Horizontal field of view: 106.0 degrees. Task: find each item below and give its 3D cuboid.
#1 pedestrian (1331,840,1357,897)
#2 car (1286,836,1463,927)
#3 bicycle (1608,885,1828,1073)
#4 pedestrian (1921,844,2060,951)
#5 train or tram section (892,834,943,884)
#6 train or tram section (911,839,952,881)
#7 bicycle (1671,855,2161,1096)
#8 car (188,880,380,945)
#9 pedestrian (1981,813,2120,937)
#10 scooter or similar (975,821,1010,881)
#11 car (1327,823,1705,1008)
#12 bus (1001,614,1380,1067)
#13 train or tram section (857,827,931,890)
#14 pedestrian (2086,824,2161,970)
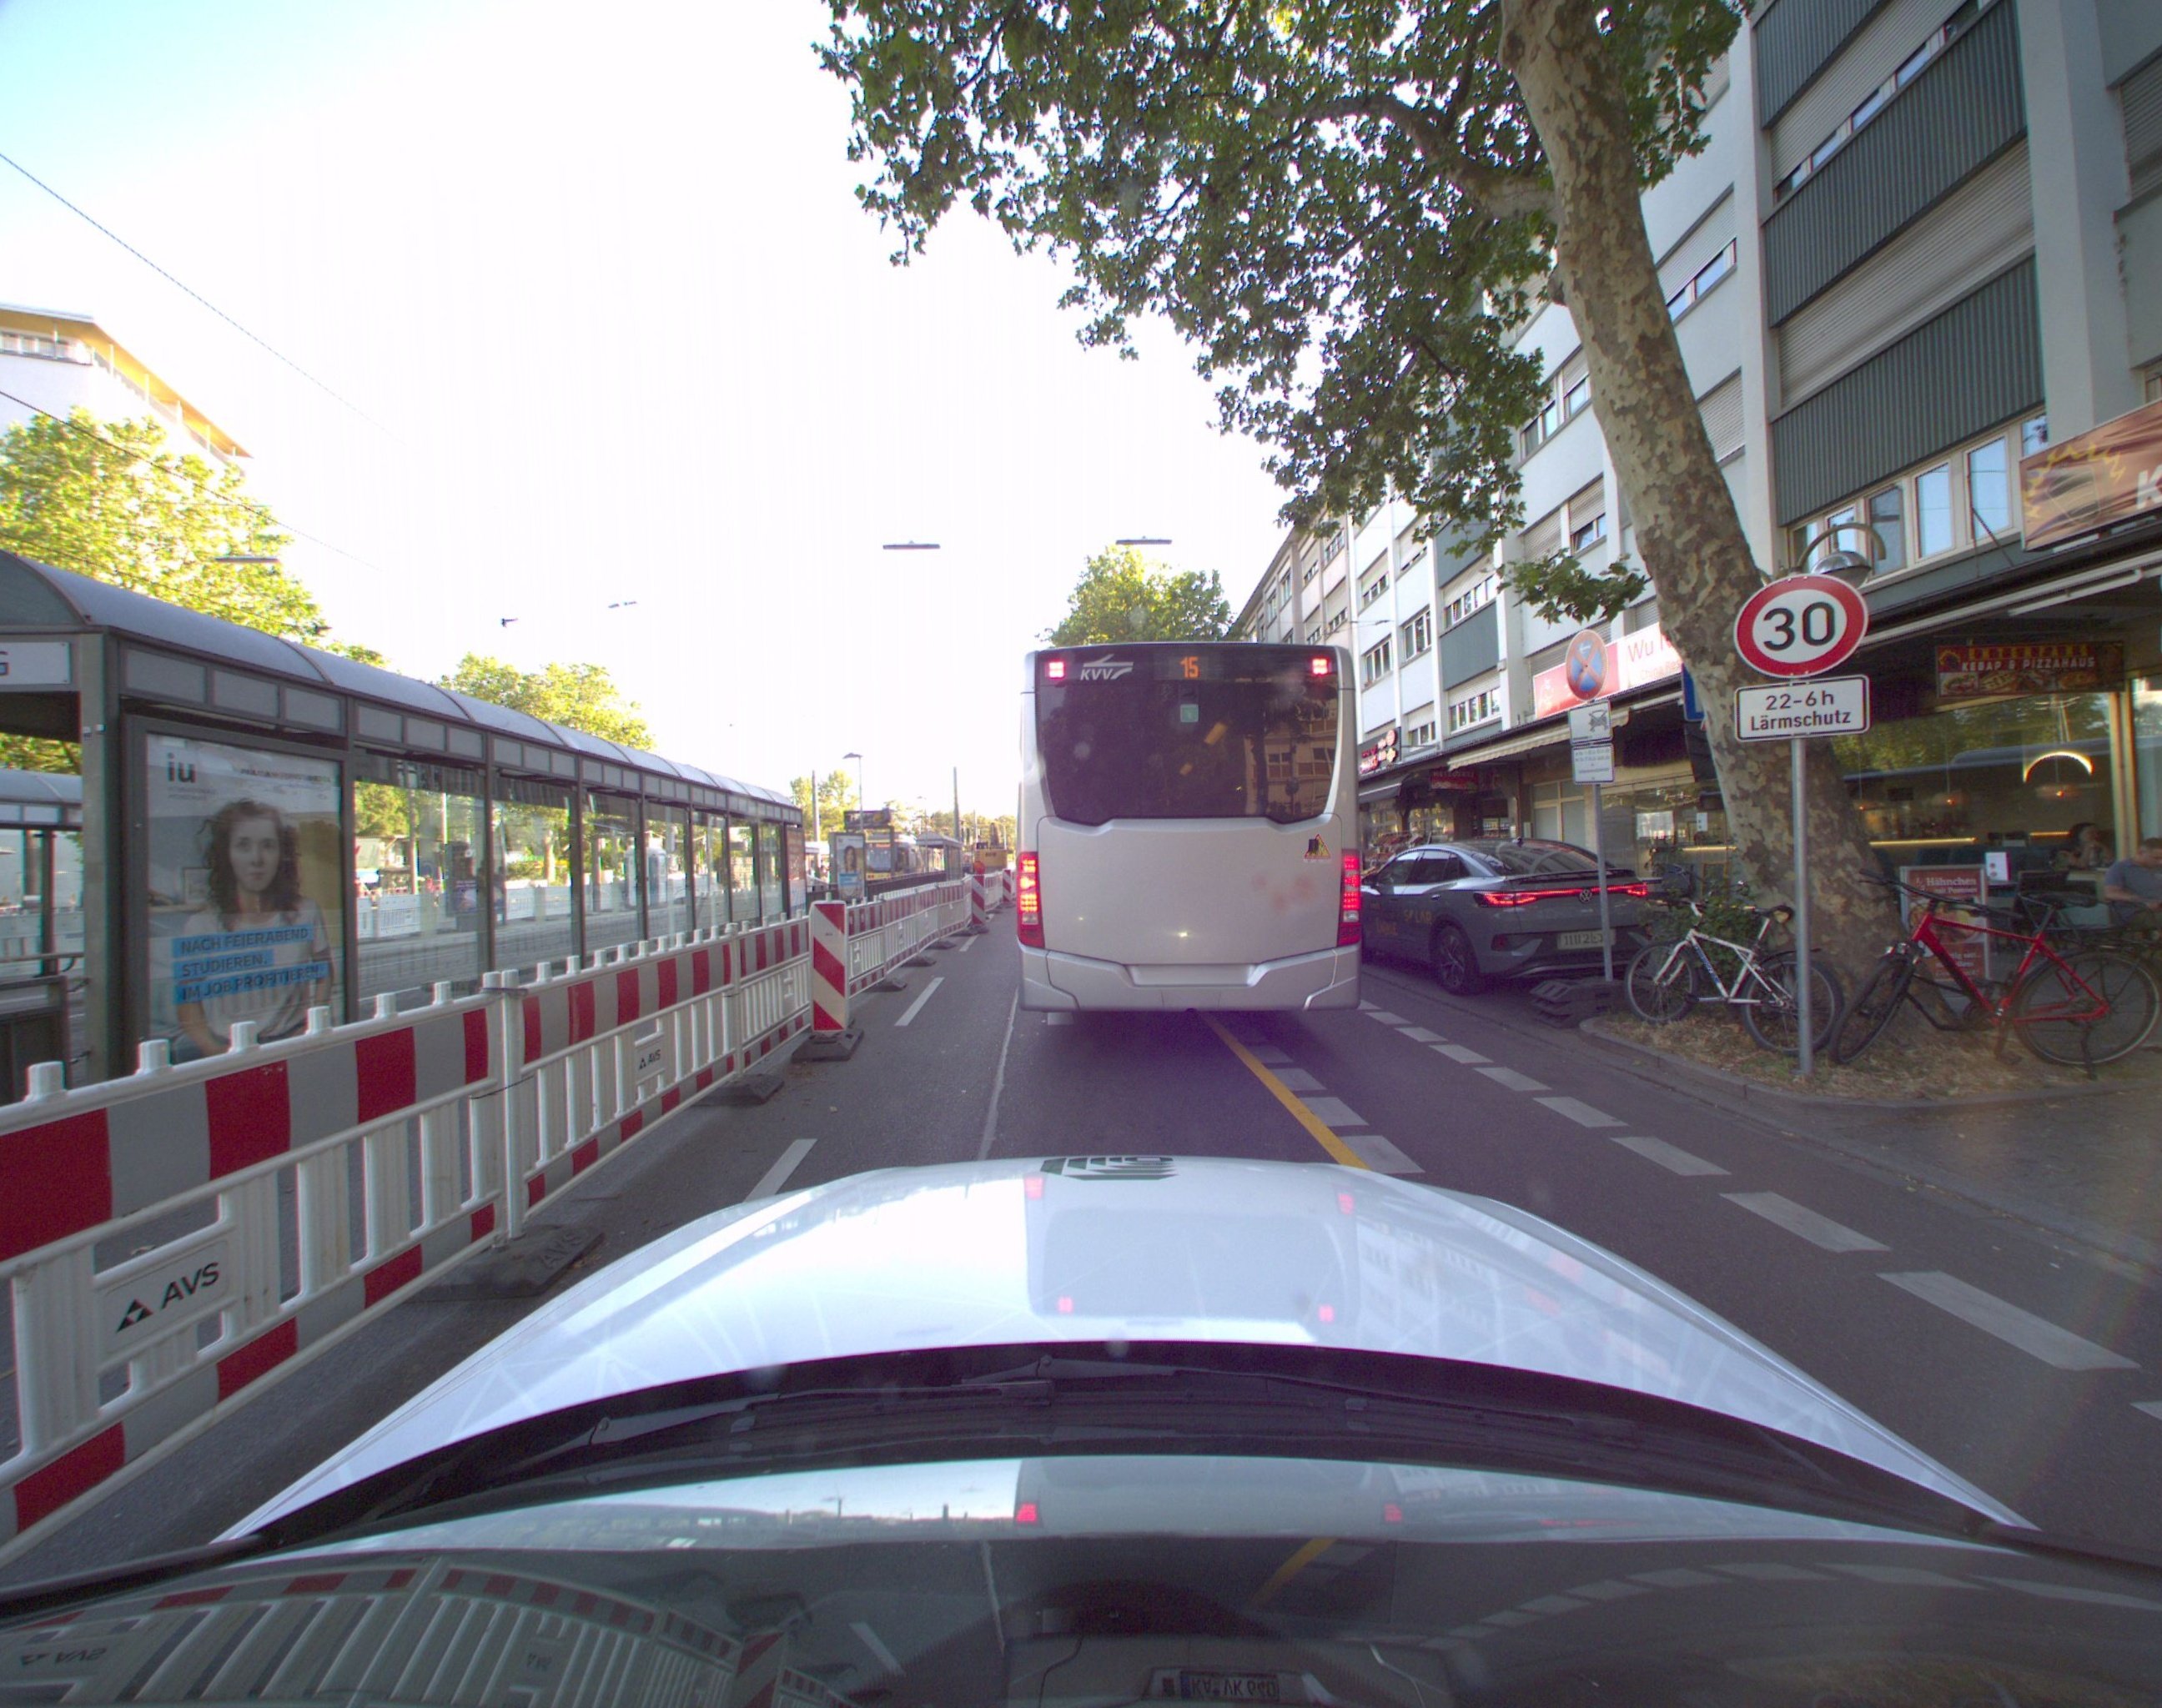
[{"bbox_3d":[7.965,0.445,24.660,0.658,1.666,0.603,-4,-1,18],"label":"pedestrian"},{"bbox_3d":[6.086,0.518,17.540,1.989,1.582,4.364,-4,0,-3],"label":"car"},{"bbox_3d":[4.568,0.836,5.970,0.550,1.155,1.446,-2,-1,6],"label":"bicycle"},{"bbox_3d":[9.854,0.454,8.836,0.643,1.081,0.945,-2,-1,-39],"label":"pedestrian"},{"bbox_3d":[-12.645,0.423,63.857,2.682,3.558,11.559,0,-1,-5],"label":"train or tram section"},{"bbox_3d":[-13.677,0.547,75.285,2.683,3.533,11.558,0,-1,-6],"label":"train or tram section"},{"bbox_3d":[5.051,0.722,4.828,2.370,1.155,0.557,-7,-2,14],"label":"bicycle"},{"bbox_3d":[-24.394,1.729,25.164,1.988,1.662,3.997,-2,-1,-1],"label":"car"},{"bbox_3d":[11.153,0.226,9.390,0.836,1.333,0.963,-2,-1,-39],"label":"pedestrian"},{"bbox_3d":[-6.988,-0.187,64.781,2.465,4.471,5.961,-2,-1,-5],"label":"scooter or similar"},{"bbox_3d":[4.734,0.565,9.790,1.989,1.582,4.364,-4,0,-3],"label":"car"},{"bbox_3d":[0.885,-0.067,9.628,2.601,3.126,7.996,0,0,2],"label":"bus"},{"bbox_3d":[-11.704,0.301,52.252,2.681,3.534,11.756,0,-1,-3],"label":"train or tram section"},{"bbox_3d":[9.618,0.367,7.202,0.555,1.245,0.692,-4,0,8],"label":"pedestrian"}]
